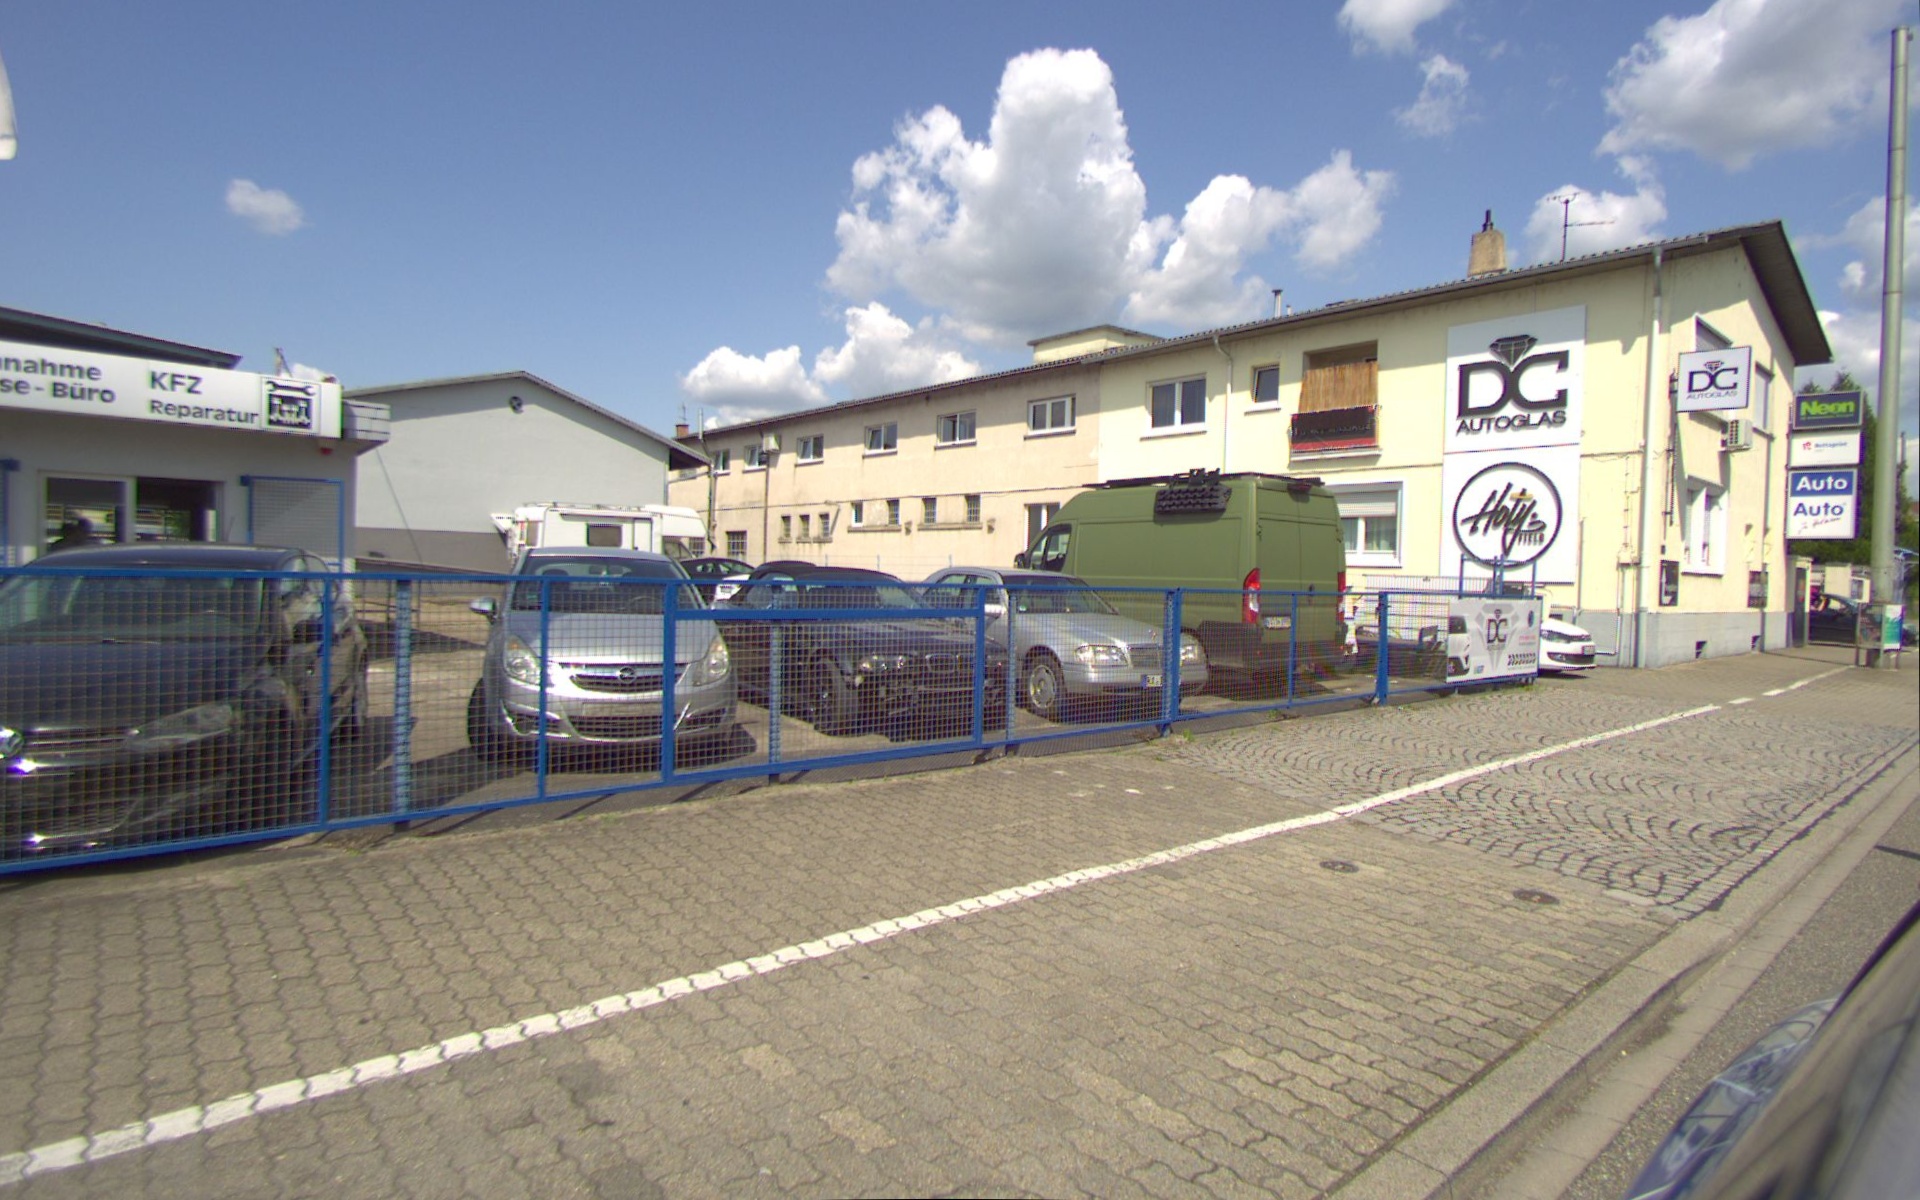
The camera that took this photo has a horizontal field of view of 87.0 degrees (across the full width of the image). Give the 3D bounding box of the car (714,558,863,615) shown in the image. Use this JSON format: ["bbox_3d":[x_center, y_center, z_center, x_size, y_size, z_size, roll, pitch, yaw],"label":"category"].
[{"bbox_3d":[-4.054,-0.331,24.149,3.219,1.278,1.452,-1,1,-40],"label":"car"}]

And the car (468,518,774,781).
[{"bbox_3d":[-2.899,0.263,8.187,1.789,1.524,4.271,-1,1,-24],"label":"car"}]

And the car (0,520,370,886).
[{"bbox_3d":[-4.611,0.307,5.895,1.592,1.480,3.919,-1,3,-24],"label":"car"}]

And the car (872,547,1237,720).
[{"bbox_3d":[0.810,0.273,11.214,1.792,1.527,4.265,-1,1,-33],"label":"car"}]

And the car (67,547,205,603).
[{"bbox_3d":[-27.769,-0.810,34.151,3.537,1.764,1.538,1,0,-43],"label":"car"}]

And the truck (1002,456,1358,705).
[{"bbox_3d":[2.711,-0.233,13.228,2.071,2.694,4.180,-1,0,-39],"label":"truck"}]

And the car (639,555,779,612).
[{"bbox_3d":[-6.497,-0.432,26.342,3.268,1.396,1.425,-1,1,-40],"label":"car"}]

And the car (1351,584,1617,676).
[{"bbox_3d":[8.737,0.433,17.135,1.490,1.375,3.727,-1,1,-37],"label":"car"}]

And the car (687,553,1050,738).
[{"bbox_3d":[-1.125,0.293,9.850,1.707,1.391,4.265,0,1,-33],"label":"car"}]

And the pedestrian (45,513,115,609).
[{"bbox_3d":[-12.421,-0.540,14.288,0.696,1.318,0.627,0,0,37],"label":"pedestrian"}]

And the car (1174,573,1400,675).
[{"bbox_3d":[4.888,0.287,15.402,1.309,1.290,3.034,-1,4,-39],"label":"car"}]

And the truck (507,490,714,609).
[{"bbox_3d":[-9.715,-1.385,28.362,5.000,3.045,2.158,-1,4,-42],"label":"truck"}]
